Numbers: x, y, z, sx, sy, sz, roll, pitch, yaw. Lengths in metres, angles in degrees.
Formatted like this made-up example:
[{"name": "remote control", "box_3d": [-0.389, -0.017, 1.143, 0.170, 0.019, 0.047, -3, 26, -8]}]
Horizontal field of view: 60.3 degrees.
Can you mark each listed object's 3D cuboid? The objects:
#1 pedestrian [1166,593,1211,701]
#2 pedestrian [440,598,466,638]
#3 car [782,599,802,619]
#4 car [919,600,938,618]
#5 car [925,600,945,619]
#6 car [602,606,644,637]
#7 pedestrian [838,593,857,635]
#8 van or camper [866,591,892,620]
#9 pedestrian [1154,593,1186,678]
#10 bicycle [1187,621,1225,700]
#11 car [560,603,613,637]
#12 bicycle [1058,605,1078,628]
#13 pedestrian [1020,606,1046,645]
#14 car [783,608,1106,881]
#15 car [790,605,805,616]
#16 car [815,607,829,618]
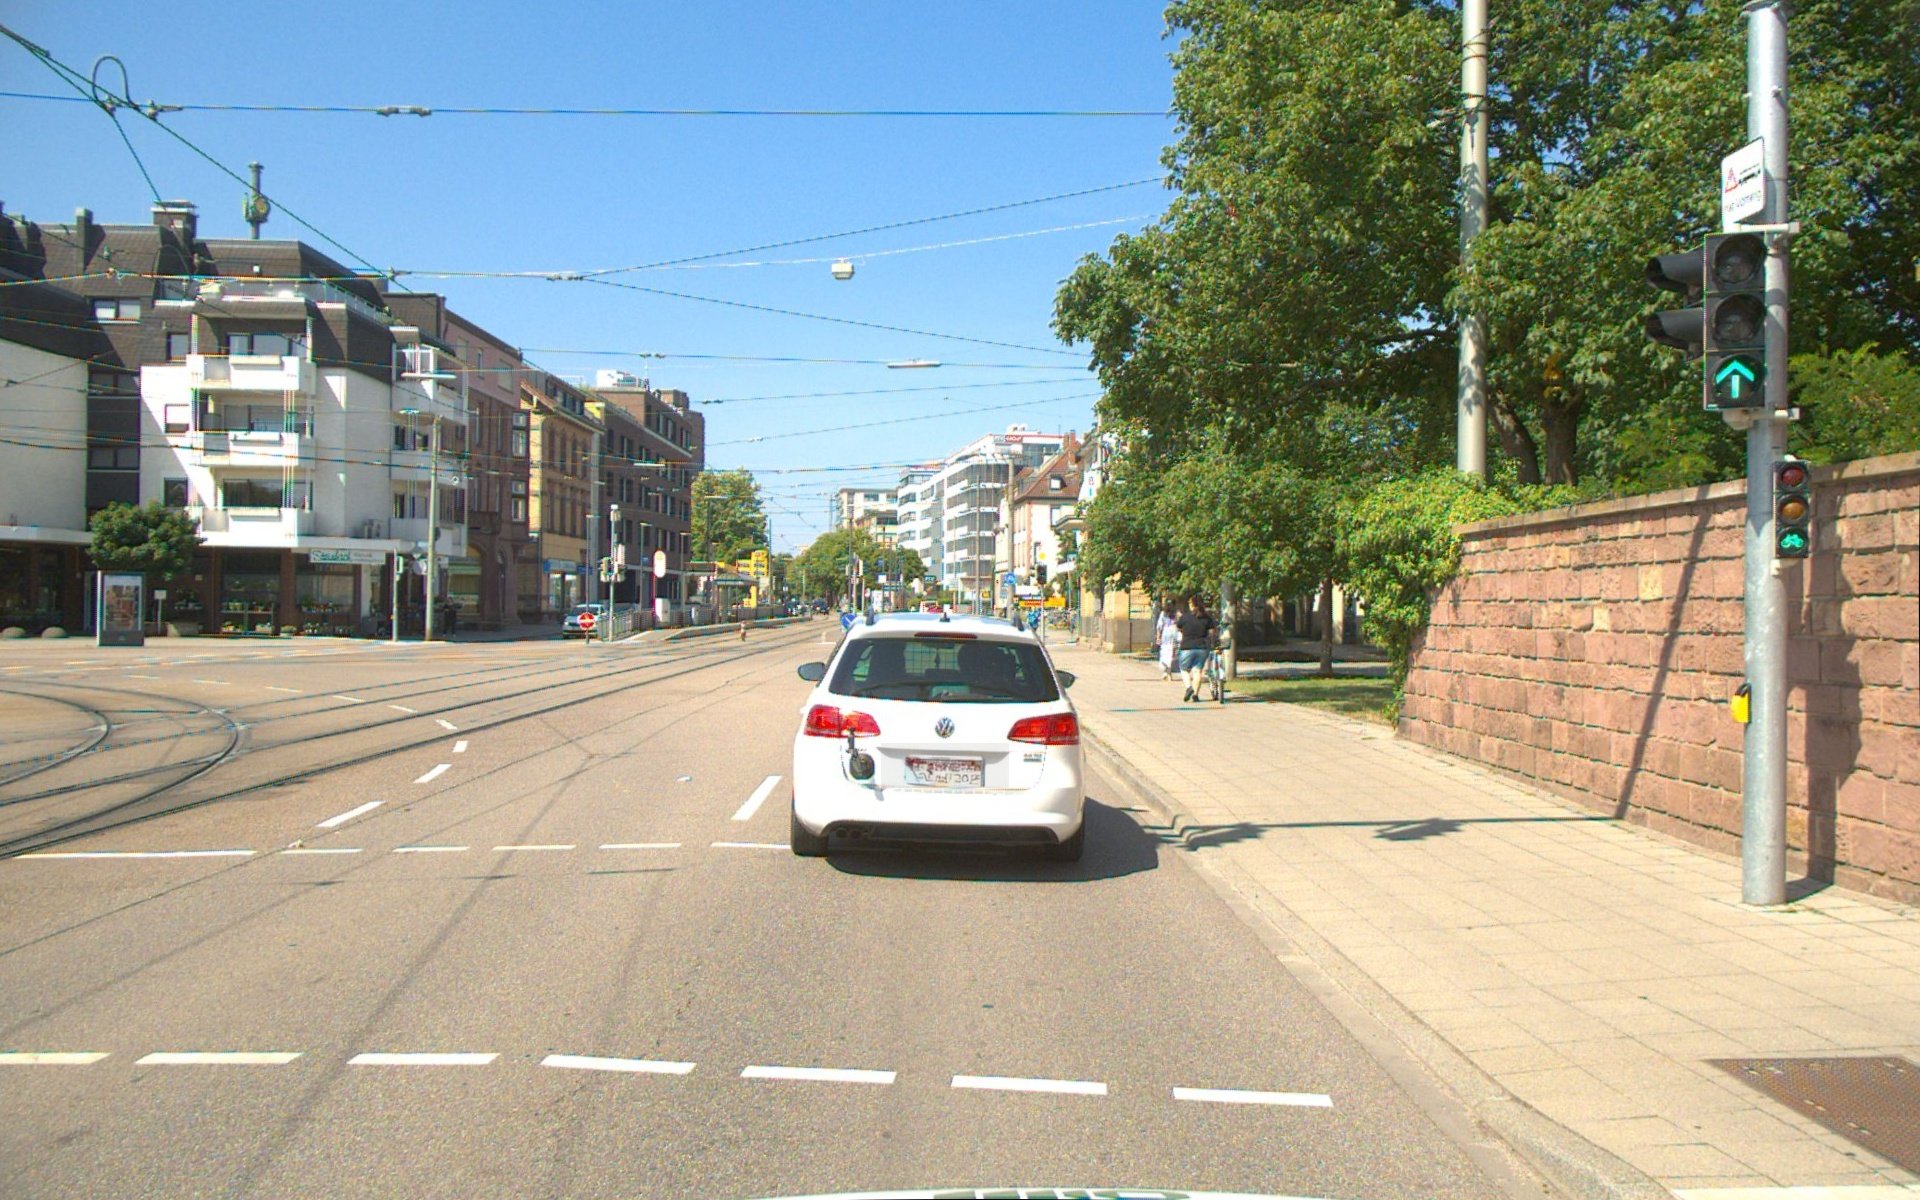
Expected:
[{"name": "pedestrian", "box_3d": [3.440, 0.701, 24.954, 0.529, 1.576, 0.663, -2, 0, -2]}, {"name": "pedestrian", "box_3d": [-21.367, 0.758, 69.749, 0.864, 1.676, 0.677, 0, -1, 39]}, {"name": "car", "box_3d": [-17.657, 0.952, 174.245, 1.954, 2.049, 3.997, -1, -1, -4]}, {"name": "car", "box_3d": [-3.681, 1.062, 191.208, 1.955, 2.049, 3.996, 0, 0, -5]}, {"name": "car", "box_3d": [-2.867, 1.037, 185.809, 1.955, 2.049, 3.996, 0, 0, -5]}, {"name": "car", "box_3d": [-16.567, 1.063, 81.380, 1.541, 1.484, 3.811, 0, 0, -4]}, {"name": "pedestrian", "box_3d": [-4.950, 0.622, 72.823, 0.810, 1.841, 0.833, 0, 0, 0]}, {"name": "van or camper", "box_3d": [-9.363, 0.606, 191.144, 2.885, 3.235, 6.610, 0, 0, -2]}, {"name": "pedestrian", "box_3d": [4.246, 0.710, 33.505, 0.636, 1.711, 0.708, 0, 0, 7]}, {"name": "bicycle", "box_3d": [3.685, 0.879, 24.735, 0.524, 1.131, 1.808, -1, -1, 9]}, {"name": "car", "box_3d": [-16.571, 0.885, 73.554, 1.593, 1.456, 3.961, 1, -1, -2]}, {"name": "bicycle", "box_3d": [5.458, 0.814, 83.430, 0.710, 1.159, 2.196, 0, 0, 11]}, {"name": "pedestrian", "box_3d": [2.912, 1.016, 65.876, 0.838, 1.536, 0.781, 0, 0, 22]}, {"name": "car", "box_3d": [-0.097, 0.779, 10.720, 1.717, 1.442, 3.852, 0, 0, -1]}, {"name": "car", "box_3d": [-21.169, 1.369, 216.086, 1.634, 1.492, 3.772, 0, 0, -1]}, {"name": "car", "box_3d": [-17.680, 1.592, 211.919, 1.634, 1.492, 3.772, 0, 0, -1]}]
